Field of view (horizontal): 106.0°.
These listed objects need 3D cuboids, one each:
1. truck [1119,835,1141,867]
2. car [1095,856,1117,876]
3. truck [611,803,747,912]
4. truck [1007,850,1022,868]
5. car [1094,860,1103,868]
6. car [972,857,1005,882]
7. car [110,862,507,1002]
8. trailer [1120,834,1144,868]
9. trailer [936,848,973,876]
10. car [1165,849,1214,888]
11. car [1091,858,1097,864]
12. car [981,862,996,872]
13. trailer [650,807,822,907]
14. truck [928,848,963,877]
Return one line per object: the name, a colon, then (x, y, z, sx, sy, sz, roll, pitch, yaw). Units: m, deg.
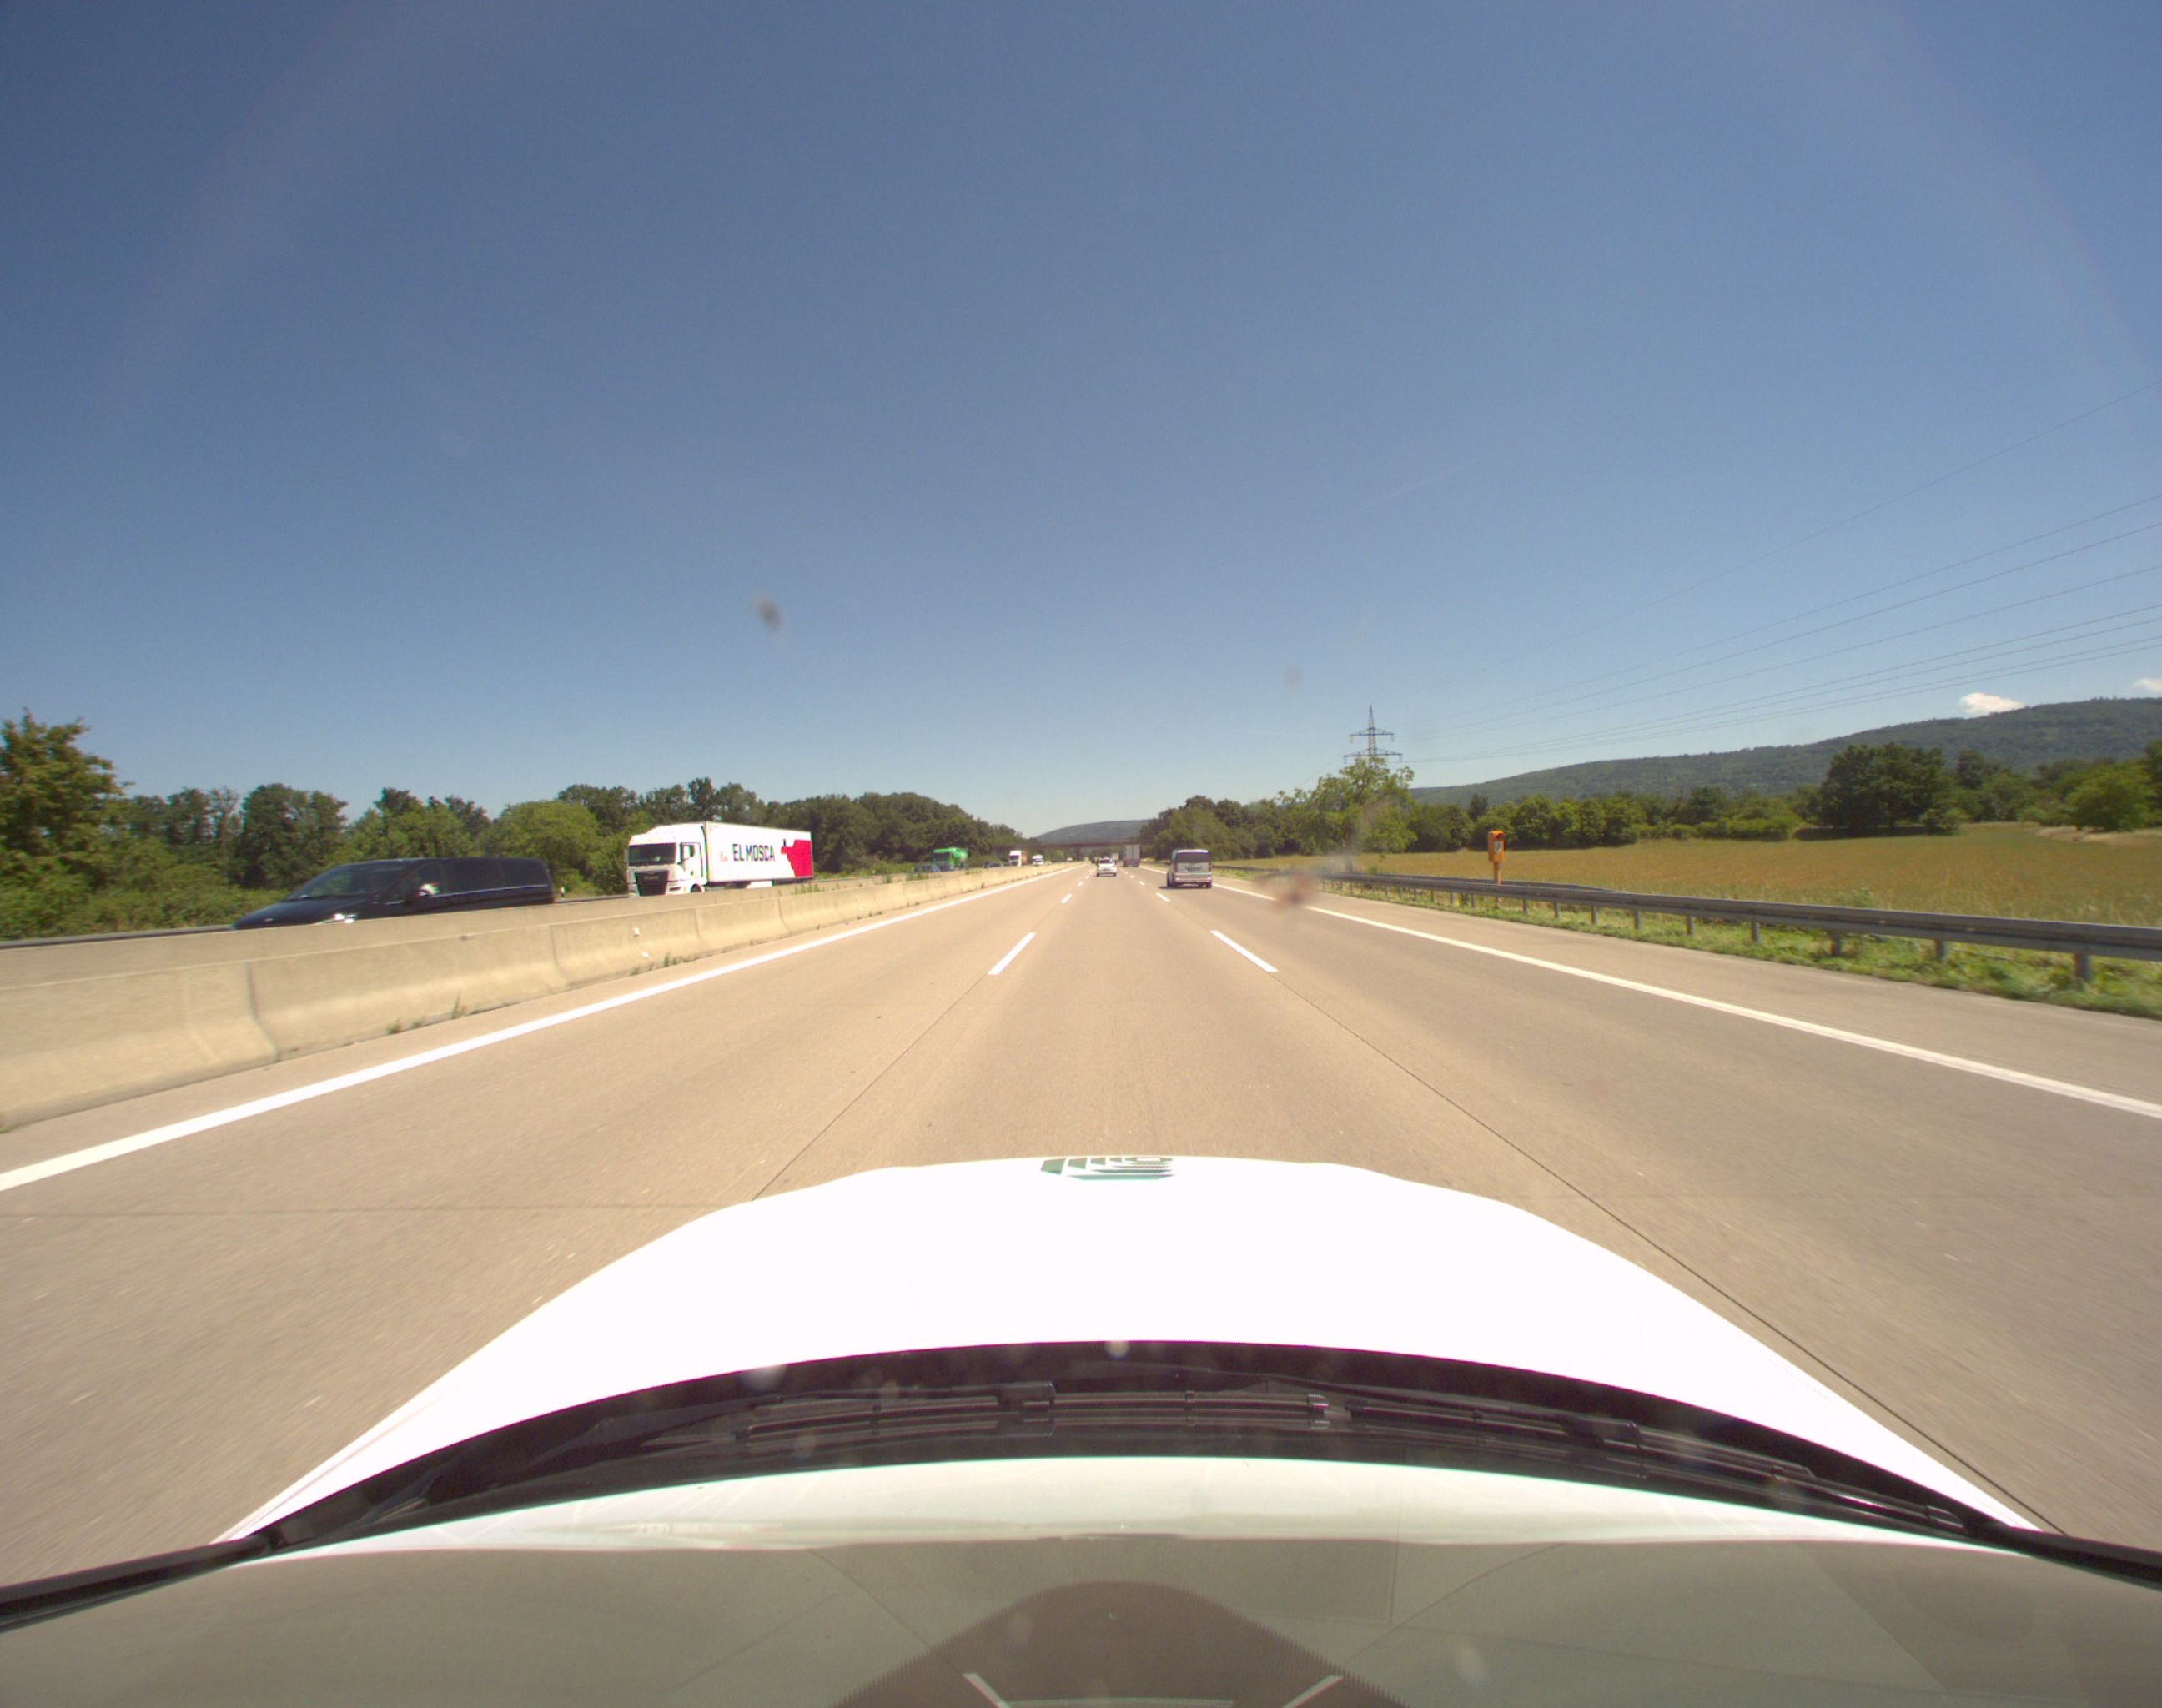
truck: (9.050, -0.496, 151.994, 3.709, 5.811, 7.053, 0, 0, 0)
car: (2.169, 1.004, 70.435, 1.813, 1.661, 4.001, -1, 0, 1)
truck: (-18.958, 0.136, 38.959, 3.070, 4.762, 6.501, 0, 0, 2)
truck: (-14.774, 1.138, 180.145, 2.548, 3.849, 6.792, 0, 0, 1)
car: (3.833, 2.143, 178.702, 1.922, 1.794, 4.000, 0, 0, 0)
car: (-7.054, 1.152, 62.603, 1.987, 1.849, 4.000, 1, 0, 0)
car: (-11.823, 1.062, 13.029, 1.986, 1.795, 4.469, 0, 0, 2)
trailer: (8.985, -0.491, 145.095, 3.709, 5.811, 12.161, 0, 0, 0)
trailer: (-17.542, 1.049, 113.539, 3.038, 3.634, 11.671, 0, 0, 1)
car: (5.314, 0.690, 40.499, 1.986, 1.849, 4.001, 0, 0, 1)
car: (4.007, 2.094, 247.717, 1.922, 1.794, 4.001, 0, 0, 1)
car: (-16.217, 2.290, 142.965, 1.922, 1.794, 4.001, 0, 0, 1)
trailer: (-18.709, 0.129, 45.948, 3.070, 4.762, 14.380, 0, 0, 2)
truck: (-17.694, 1.085, 107.025, 3.038, 3.634, 7.980, 0, 0, 1)
